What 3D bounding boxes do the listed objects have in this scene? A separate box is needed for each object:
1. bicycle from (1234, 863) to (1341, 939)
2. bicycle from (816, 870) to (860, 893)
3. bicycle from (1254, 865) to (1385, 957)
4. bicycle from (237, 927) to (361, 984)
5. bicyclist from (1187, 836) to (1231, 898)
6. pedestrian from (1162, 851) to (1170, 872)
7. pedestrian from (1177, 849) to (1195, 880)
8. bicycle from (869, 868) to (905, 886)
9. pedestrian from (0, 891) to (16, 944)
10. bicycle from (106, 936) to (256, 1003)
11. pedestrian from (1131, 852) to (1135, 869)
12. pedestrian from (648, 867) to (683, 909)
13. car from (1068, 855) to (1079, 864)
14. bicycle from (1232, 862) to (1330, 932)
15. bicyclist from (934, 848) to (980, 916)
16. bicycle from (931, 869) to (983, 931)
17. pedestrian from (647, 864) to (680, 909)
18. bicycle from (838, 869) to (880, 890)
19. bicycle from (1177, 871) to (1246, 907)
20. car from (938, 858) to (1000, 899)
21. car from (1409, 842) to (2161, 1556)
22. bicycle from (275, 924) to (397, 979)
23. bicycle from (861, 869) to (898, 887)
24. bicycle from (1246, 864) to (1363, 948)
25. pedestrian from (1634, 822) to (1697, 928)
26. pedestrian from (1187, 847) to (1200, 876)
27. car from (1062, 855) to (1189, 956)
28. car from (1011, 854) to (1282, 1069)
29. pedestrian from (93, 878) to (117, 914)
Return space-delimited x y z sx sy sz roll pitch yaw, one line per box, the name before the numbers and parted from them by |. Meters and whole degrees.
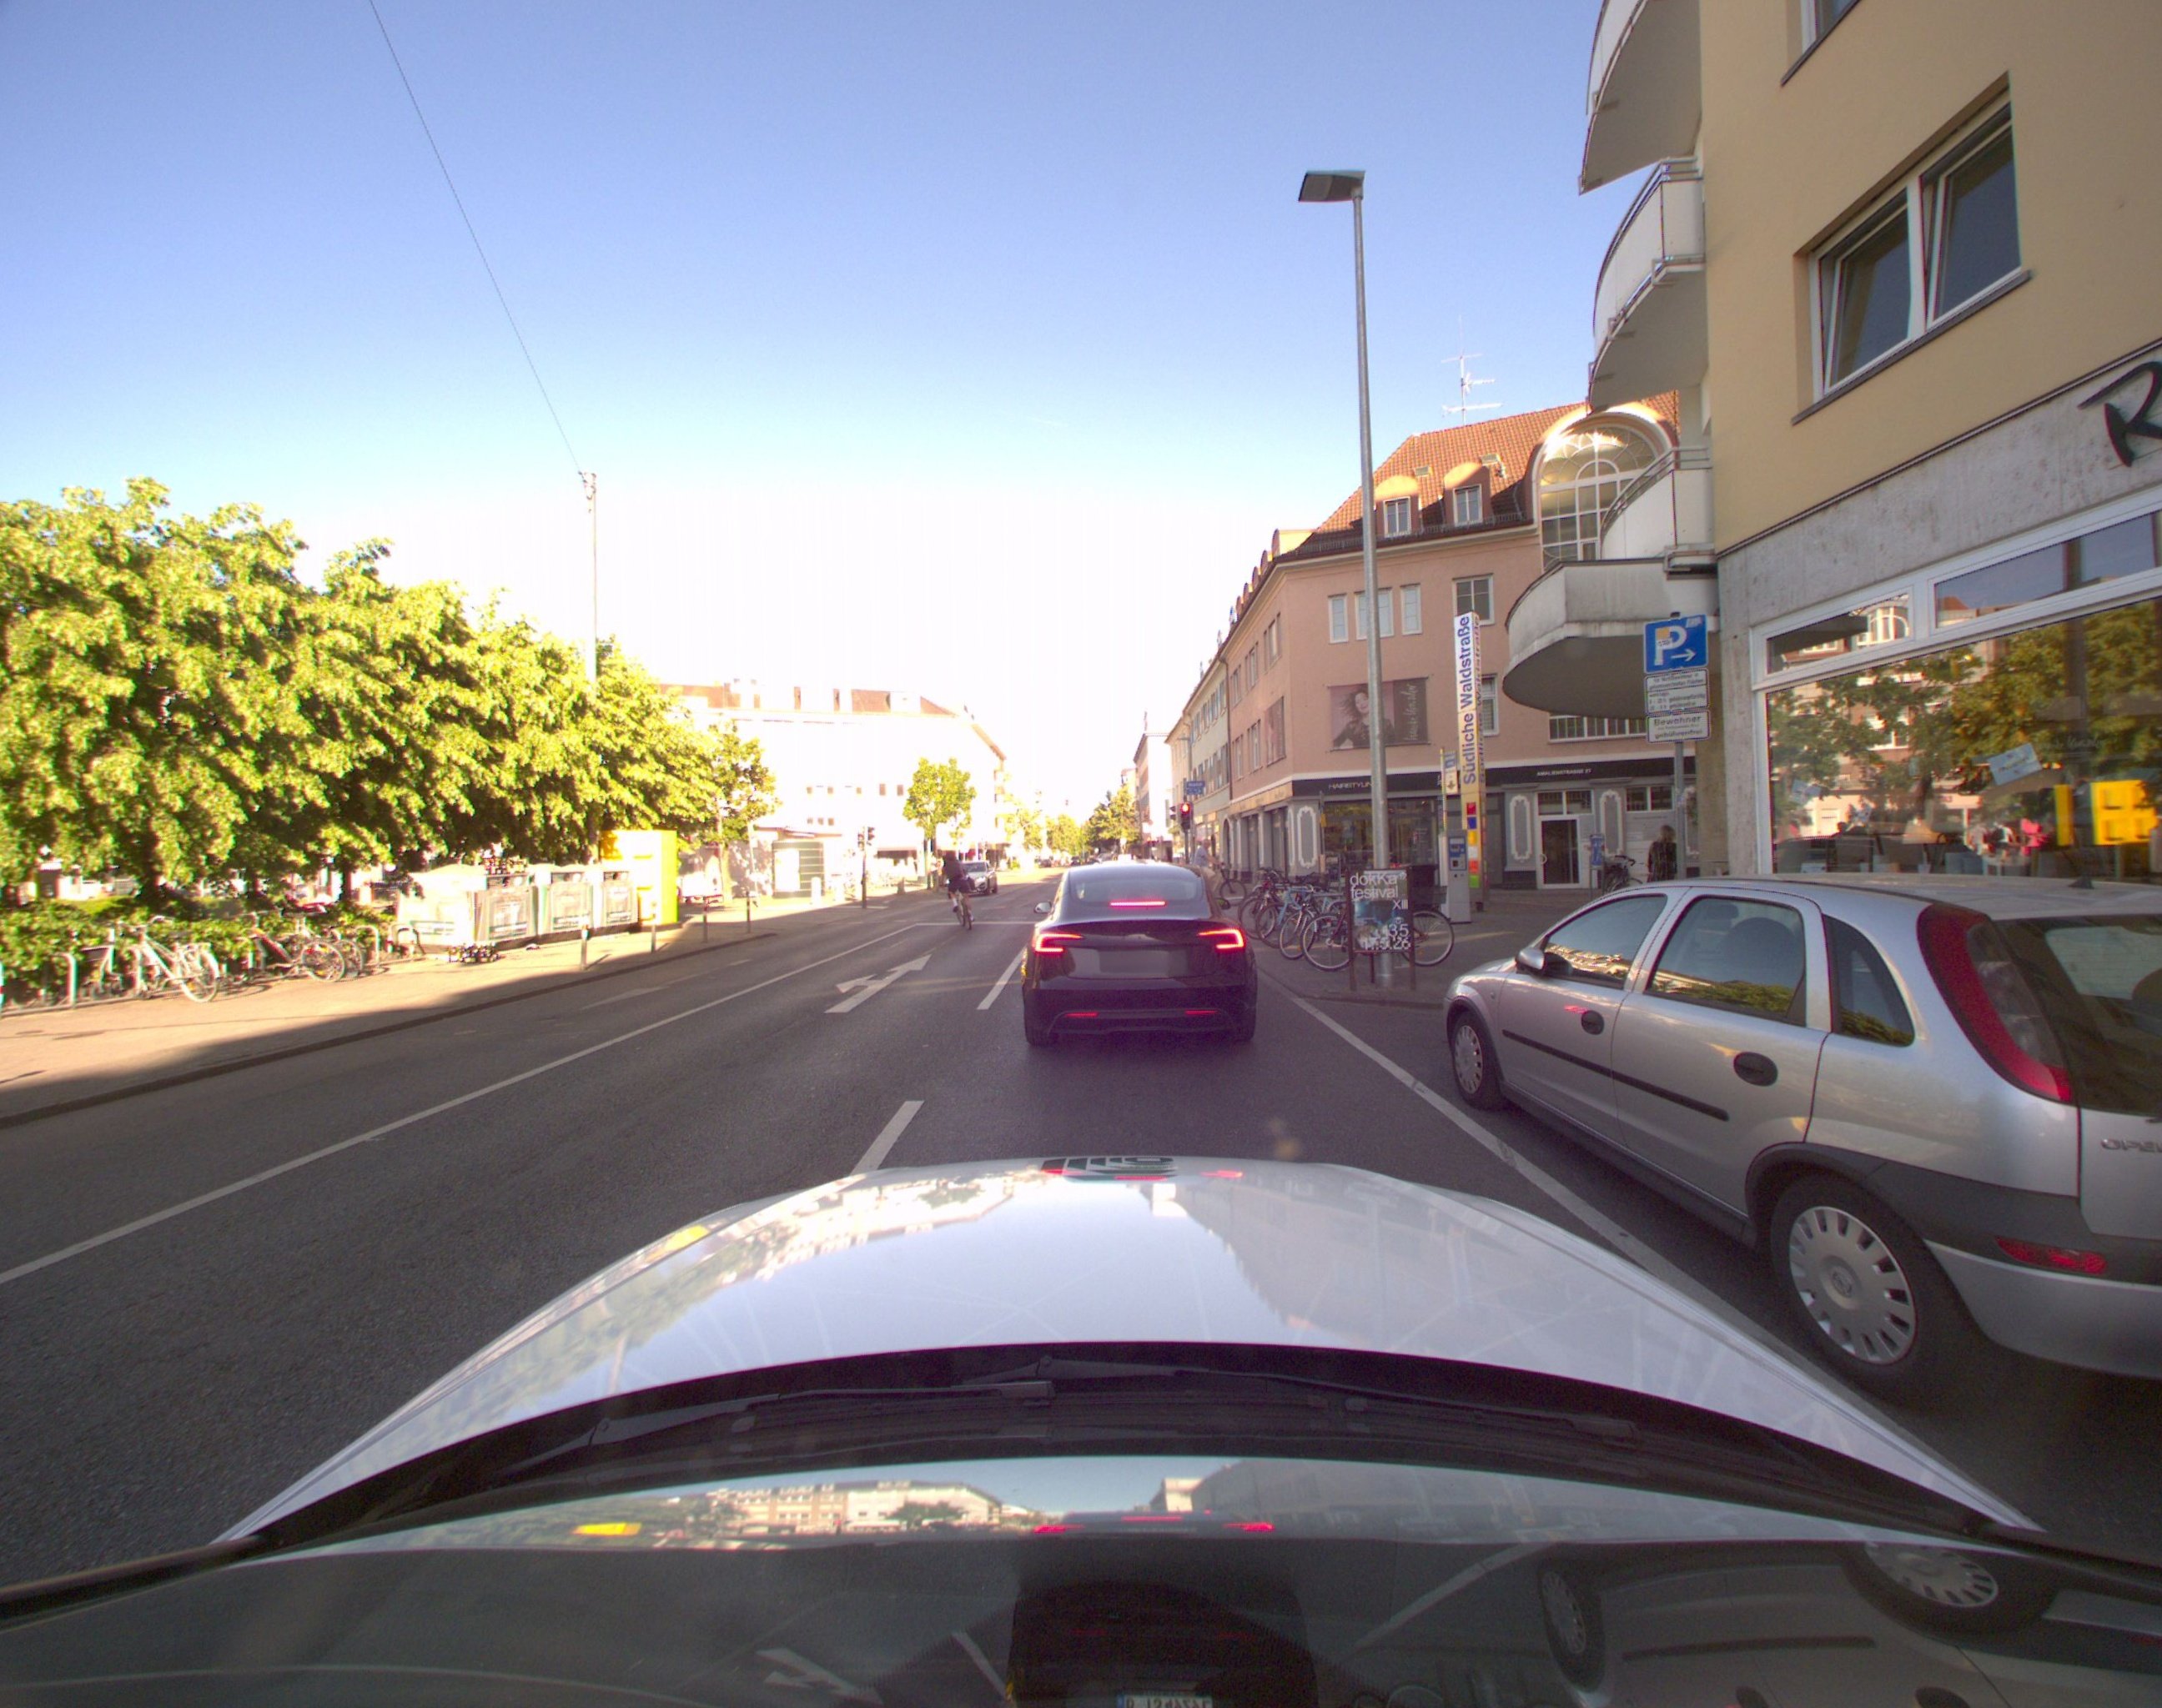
bicycle | 3.440 0.782 13.645 1.622 1.160 0.433 -3 0 0
bicycle | -12.855 1.451 43.136 2.075 1.104 0.806 -1 0 1
bicycle | 3.281 0.776 11.246 1.622 1.160 0.433 -3 0 0
bicycle | -11.289 1.455 11.766 1.465 0.769 0.442 -1 -1 6
bicyclist | 3.541 0.357 22.537 1.112 1.654 0.631 -1 0 12
pedestrian | 6.914 0.646 66.478 0.568 1.691 0.387 -1 0 1
pedestrian | 6.376 0.610 49.466 0.995 1.850 0.615 -1 0 1
bicycle | -12.527 1.453 52.624 2.075 1.104 0.806 -1 0 1
pedestrian | -42.131 2.473 31.646 0.577 2.014 0.682 -1 -1 9
bicycle | -11.452 1.453 10.370 1.645 0.769 0.476 -1 -1 10
pedestrian | 6.033 0.734 95.030 0.383 2.013 0.297 -1 0 1
pedestrian | -16.649 1.363 32.658 0.981 1.636 0.738 -1 0 5
car | -1.413 1.077 155.206 1.824 1.724 4.000 -1 0 0
bicycle | 3.615 0.770 14.803 1.621 1.160 0.433 -3 0 2
bicyclist | -2.710 0.600 17.900 0.793 1.435 1.008 -1 0 1
bicycle | -2.702 0.975 17.871 0.793 1.233 1.774 -1 0 2
pedestrian | -16.686 1.290 32.568 0.897 1.725 0.745 -1 0 5
bicycle | -12.438 1.441 45.648 2.075 1.104 0.806 -1 0 1
bicycle | 3.619 0.947 22.521 1.850 0.946 0.631 0 0 12
car | -4.966 1.049 36.701 1.986 1.541 4.002 -5 0 2
car | 2.945 0.673 3.531 1.615 1.394 3.888 -1 0 3
bicycle | -11.257 1.469 12.328 1.466 0.769 0.475 -1 -1 4
bicycle | -12.485 1.482 50.427 2.075 1.104 0.806 -1 0 1
bicycle | 3.403 0.785 12.448 1.622 1.160 0.433 -3 0 0
pedestrian | 9.289 0.331 12.948 0.656 1.633 0.631 -5 -1 41
pedestrian | 6.845 0.462 49.509 0.701 1.783 0.534 -1 0 1
car | 0.739 0.762 13.905 1.842 1.455 3.788 -1 0 3
car | 0.536 0.753 7.537 1.842 1.455 3.788 -1 0 3
pedestrian | -50.243 2.146 41.924 0.576 1.792 0.604 -1 -1 19
